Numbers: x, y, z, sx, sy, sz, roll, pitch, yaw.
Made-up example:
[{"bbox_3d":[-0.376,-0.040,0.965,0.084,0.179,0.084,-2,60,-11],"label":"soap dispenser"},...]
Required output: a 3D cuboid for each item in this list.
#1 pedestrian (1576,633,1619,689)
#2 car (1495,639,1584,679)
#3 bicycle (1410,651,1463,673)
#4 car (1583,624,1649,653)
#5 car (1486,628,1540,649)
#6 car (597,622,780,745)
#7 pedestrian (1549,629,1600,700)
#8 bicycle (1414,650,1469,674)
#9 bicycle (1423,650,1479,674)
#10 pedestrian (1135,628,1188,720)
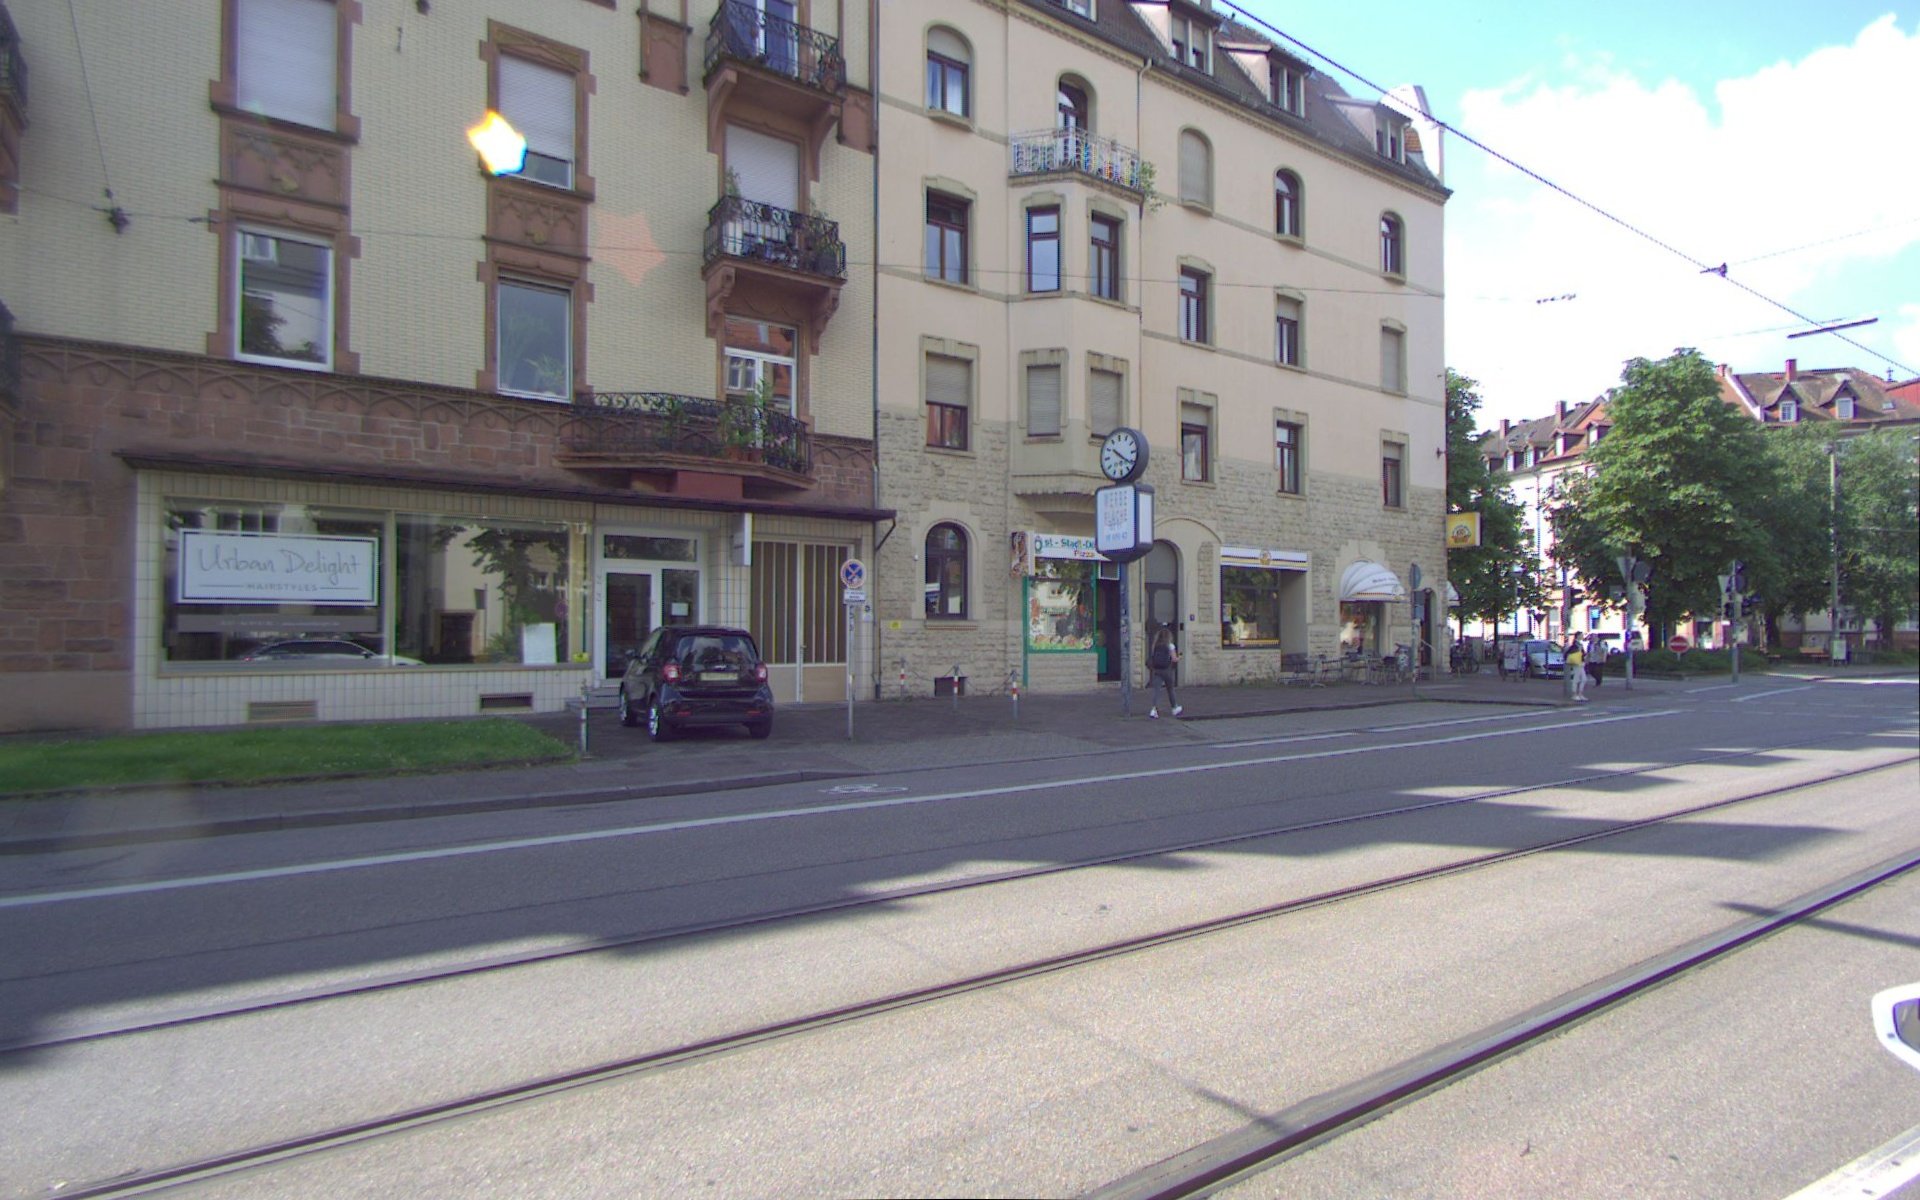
[{"bbox_3d":[19.690,1.858,31.039,0.813,1.694,0.850,1,-2,-32],"label":"pedestrian"},{"bbox_3d":[22.089,2.221,38.428,1.686,1.439,3.876,0,-2,10],"label":"car"},{"bbox_3d":[20.573,2.664,43.360,1.990,0.894,0.512,1,-2,13],"label":"bicycle"},{"bbox_3d":[48.233,2.813,73.929,1.823,2.015,3.942,0,-2,-10],"label":"car"},{"bbox_3d":[46.001,3.196,83.635,1.882,1.685,3.934,0,-2,-11],"label":"car"},{"bbox_3d":[-4.112,1.129,14.885,1.687,1.506,3.425,1,0,-32],"label":"car"},{"bbox_3d":[15.727,1.629,25.695,0.865,1.727,0.751,1,2,-34],"label":"pedestrian"},{"bbox_3d":[20.203,2.597,42.178,1.990,0.894,0.512,1,-2,13],"label":"bicycle"},{"bbox_3d":[19.957,2.510,40.850,1.990,0.894,0.523,1,-2,13],"label":"bicycle"},{"bbox_3d":[3.717,1.339,18.479,0.683,1.562,0.962,3,2,25],"label":"pedestrian"}]
